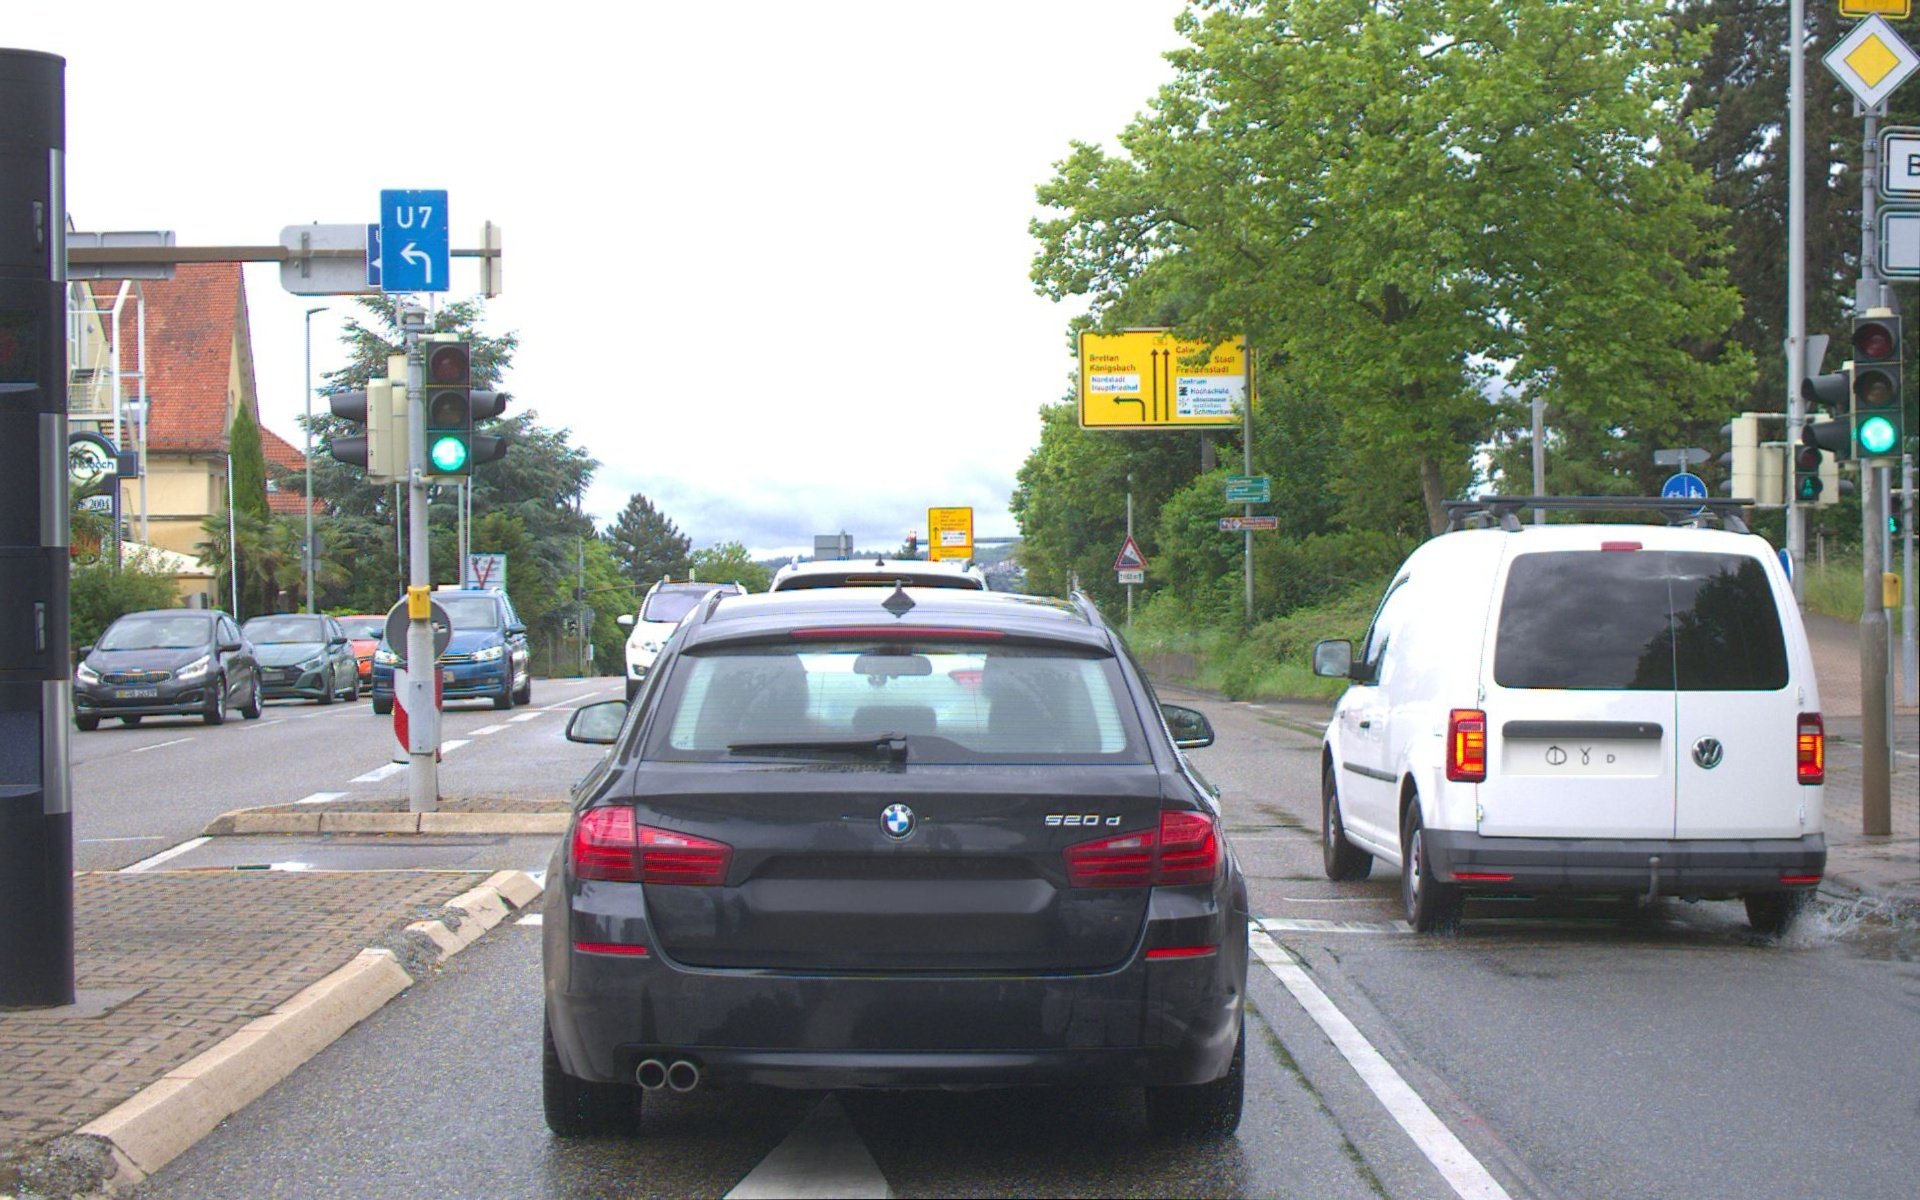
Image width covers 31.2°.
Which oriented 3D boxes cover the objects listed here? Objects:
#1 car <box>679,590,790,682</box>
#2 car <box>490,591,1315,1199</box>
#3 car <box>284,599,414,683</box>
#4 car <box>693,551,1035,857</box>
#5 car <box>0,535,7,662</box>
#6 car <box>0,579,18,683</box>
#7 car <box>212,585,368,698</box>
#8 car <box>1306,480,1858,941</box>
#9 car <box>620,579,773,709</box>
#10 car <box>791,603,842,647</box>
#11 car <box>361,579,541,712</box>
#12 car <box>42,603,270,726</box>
[{"bbox_3d":[-3.644,0.597,56.049,1.632,1.429,4.144,0,-1,-1],"label":"car"},{"bbox_3d":[-0.145,0.721,9.960,1.899,1.437,4.000,0,0,0],"label":"car"},{"bbox_3d":[-10.612,0.699,59.926,1.622,1.327,3.946,-2,1,-1],"label":"car"},{"bbox_3d":[-0.541,0.545,20.914,1.868,1.668,4.000,0,1,0],"label":"car"},{"bbox_3d":[-17.500,0.067,54.172,4.385,2.007,2.000,-2,0,-29],"label":"car"},{"bbox_3d":[-18.360,0.636,56.815,4.996,1.697,2.000,-2,-2,-28],"label":"car"},{"bbox_3d":[-10.444,0.613,53.797,1.676,1.612,4.000,-2,1,-1],"label":"car"},{"bbox_3d":[2.734,0.422,15.945,1.764,1.871,3.805,0,1,-1],"label":"car"},{"bbox_3d":[-3.517,0.552,46.493,1.839,1.644,4.297,-1,0,-2],"label":"car"},{"bbox_3d":[-5.714,0.985,137.116,1.868,1.668,4.000,0,1,0],"label":"car"},{"bbox_3d":[-6.787,0.571,46.217,1.839,1.644,4.297,-2,1,-2],"label":"car"},{"bbox_3d":[-10.020,0.768,43.120,1.917,1.375,4.125,-2,1,-1],"label":"car"}]
